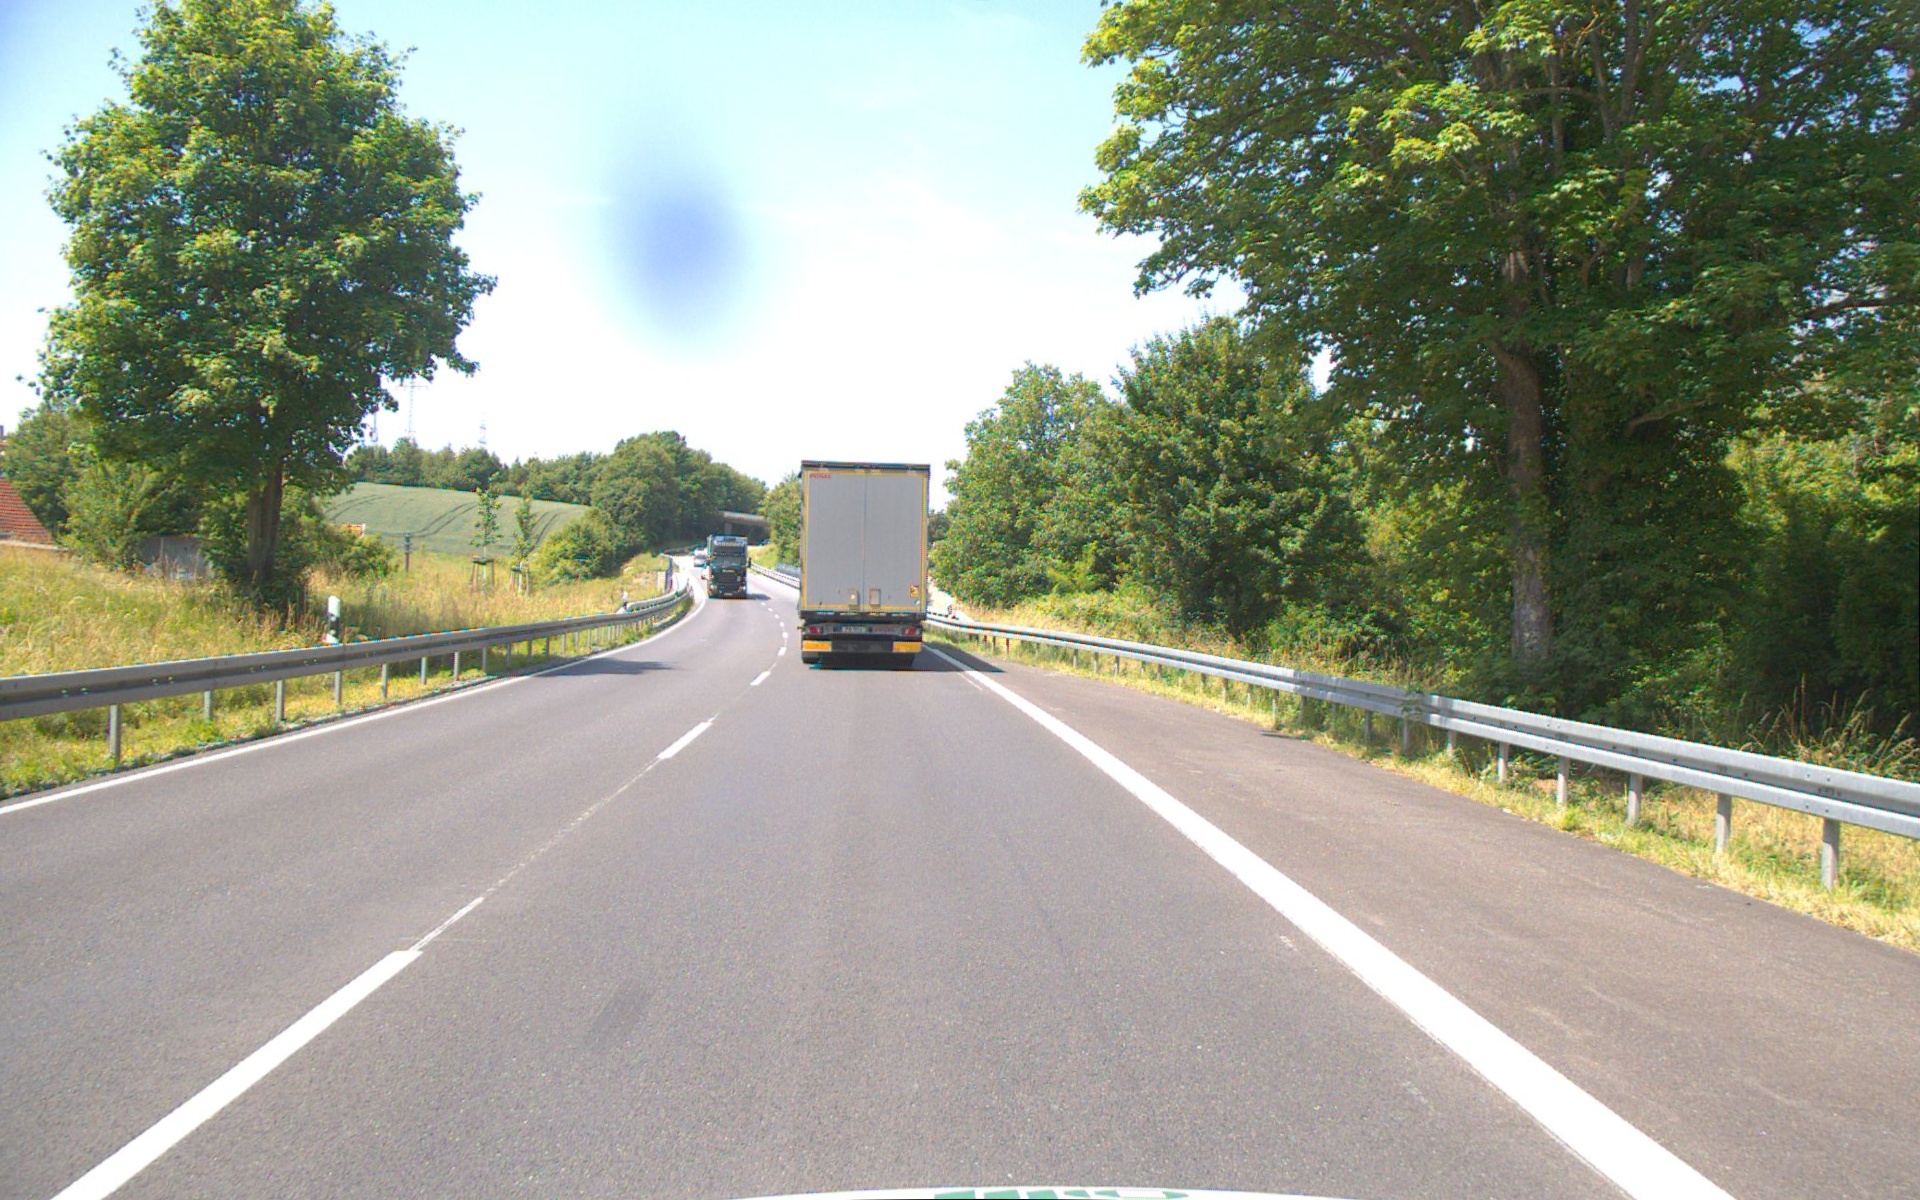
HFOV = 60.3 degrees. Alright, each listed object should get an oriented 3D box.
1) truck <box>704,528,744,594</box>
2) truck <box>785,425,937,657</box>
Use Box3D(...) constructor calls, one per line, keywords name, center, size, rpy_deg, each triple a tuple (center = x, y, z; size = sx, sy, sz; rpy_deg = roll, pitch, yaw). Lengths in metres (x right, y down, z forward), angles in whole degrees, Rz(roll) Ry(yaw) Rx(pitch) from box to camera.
Box3D(name="truck", center=(-15.757, -2.593, 110.715), size=(2.398, 4.268, 5.642), rpy_deg=(1, 1, -6))
Box3D(name="truck", center=(-2.419, -1.173, 36.824), size=(2.811, 4.435, 9.775), rpy_deg=(1, 0, -7))
